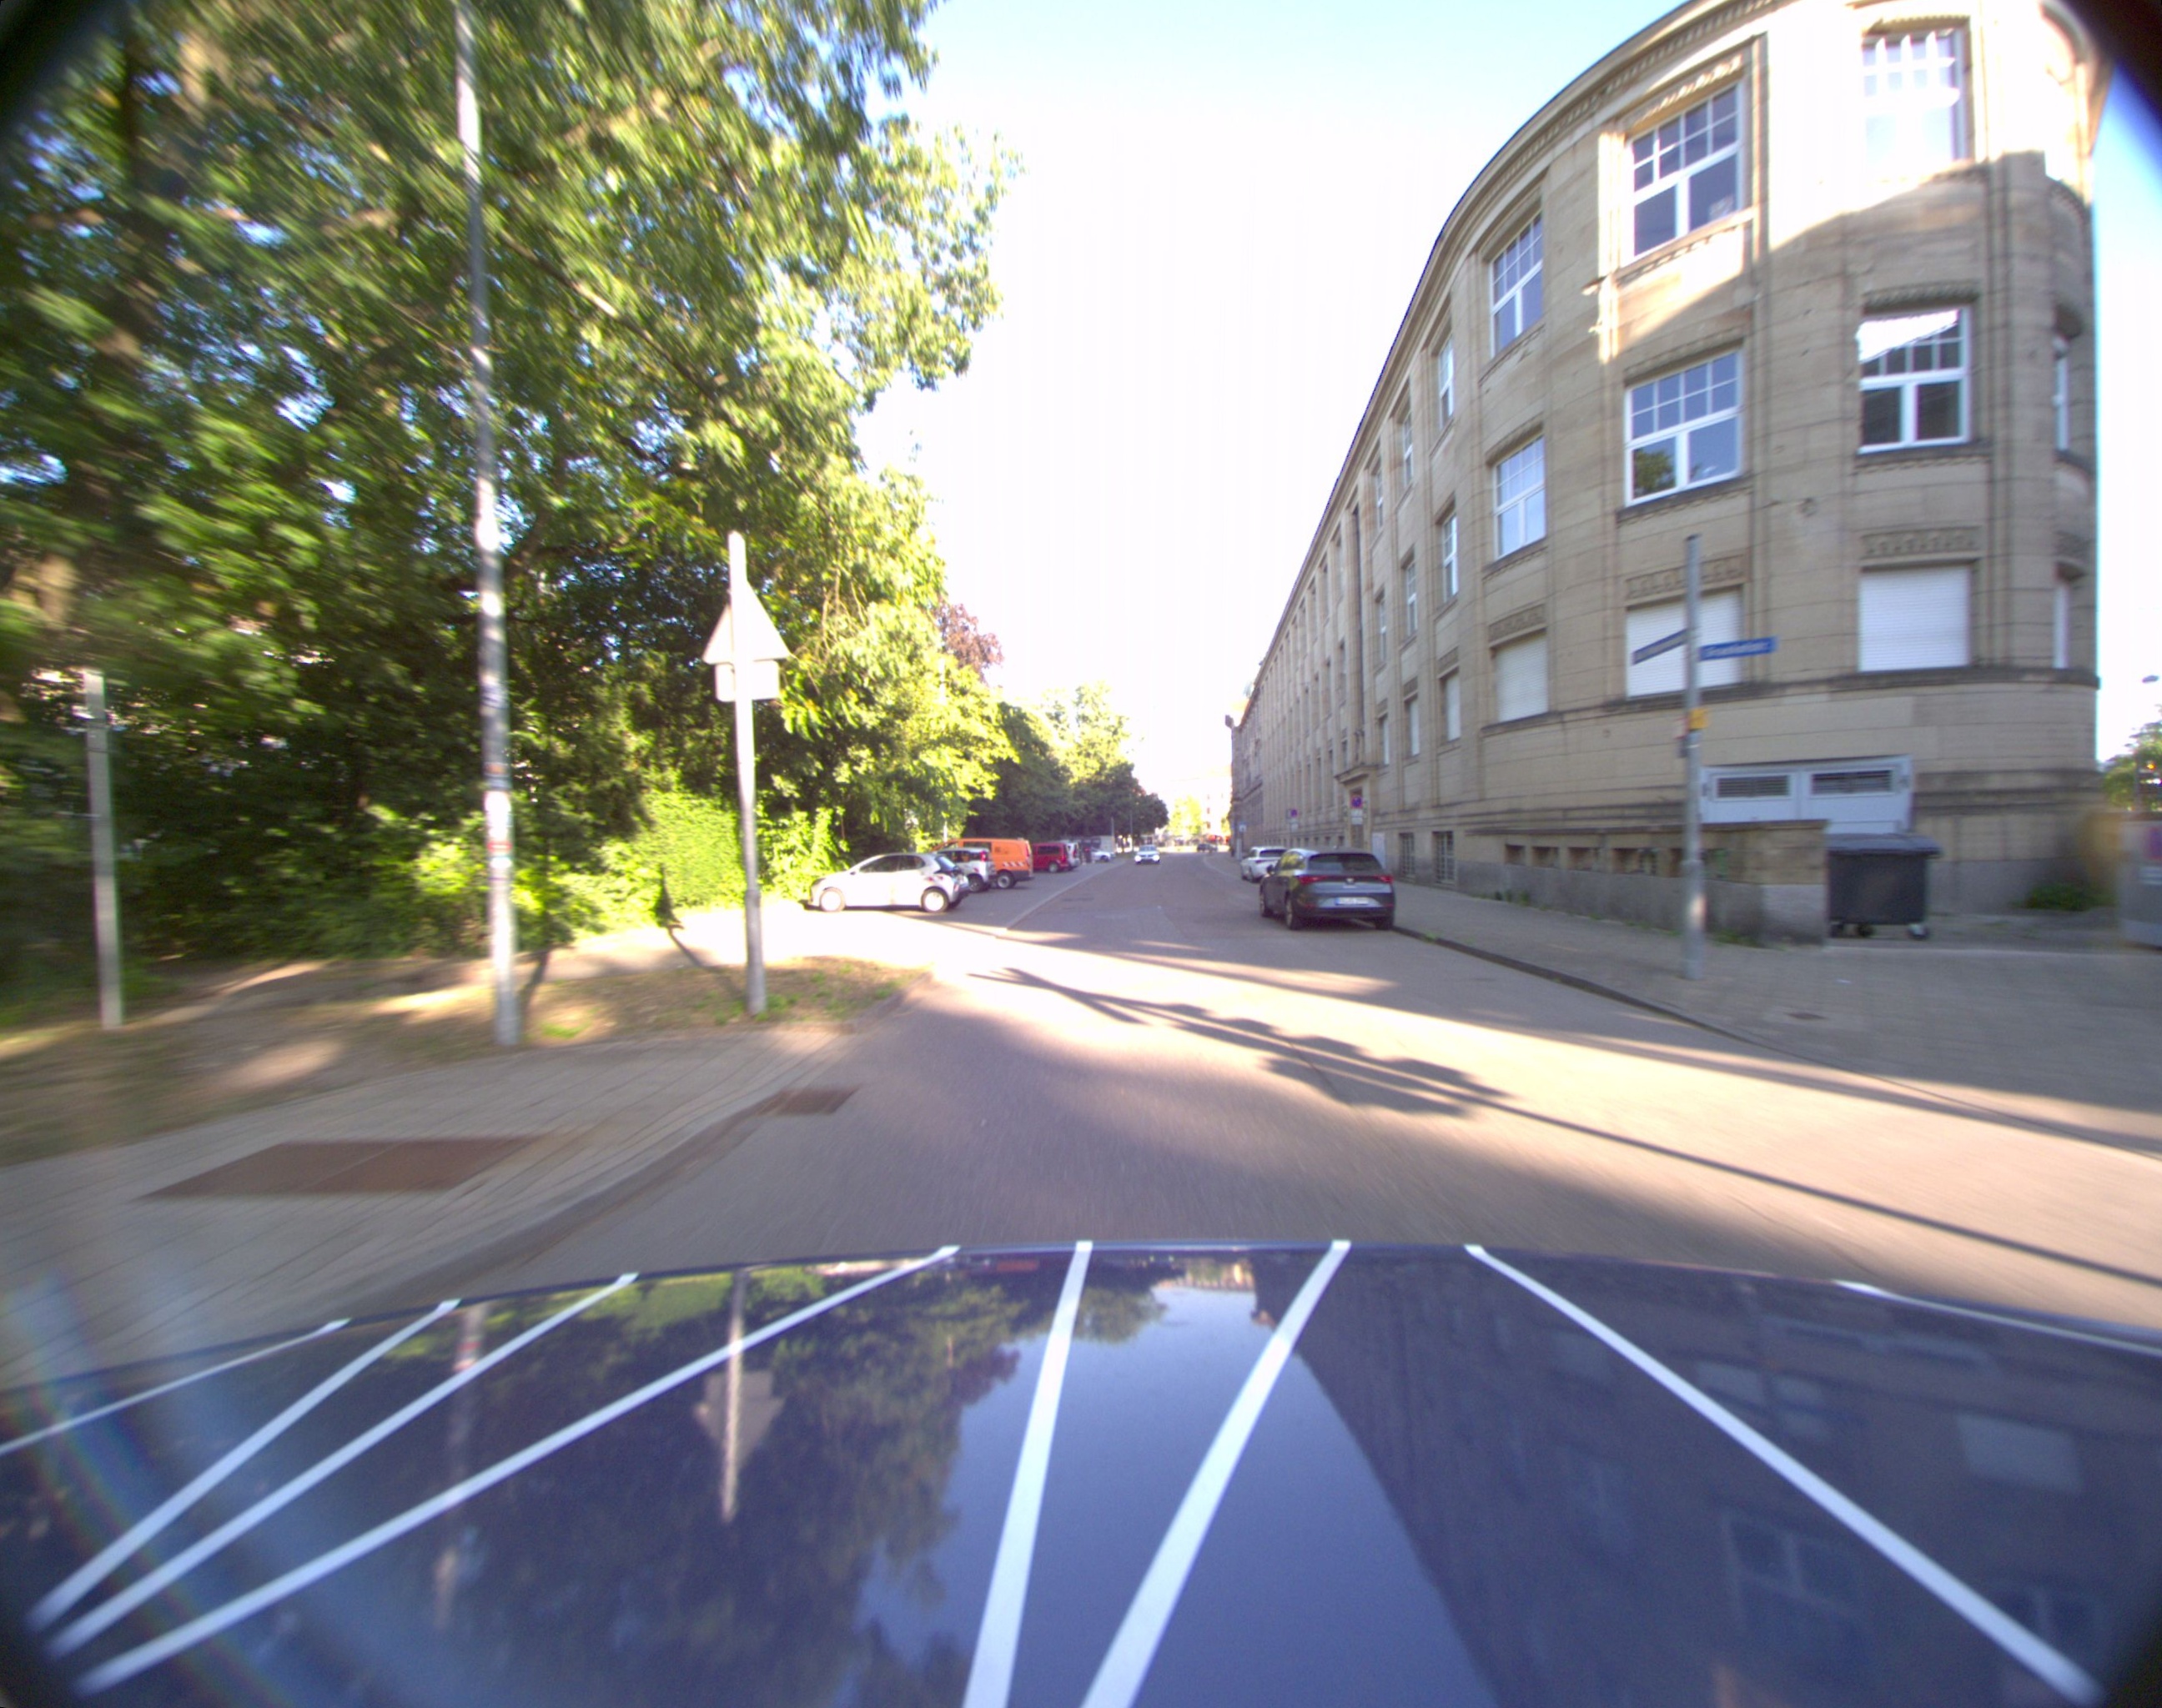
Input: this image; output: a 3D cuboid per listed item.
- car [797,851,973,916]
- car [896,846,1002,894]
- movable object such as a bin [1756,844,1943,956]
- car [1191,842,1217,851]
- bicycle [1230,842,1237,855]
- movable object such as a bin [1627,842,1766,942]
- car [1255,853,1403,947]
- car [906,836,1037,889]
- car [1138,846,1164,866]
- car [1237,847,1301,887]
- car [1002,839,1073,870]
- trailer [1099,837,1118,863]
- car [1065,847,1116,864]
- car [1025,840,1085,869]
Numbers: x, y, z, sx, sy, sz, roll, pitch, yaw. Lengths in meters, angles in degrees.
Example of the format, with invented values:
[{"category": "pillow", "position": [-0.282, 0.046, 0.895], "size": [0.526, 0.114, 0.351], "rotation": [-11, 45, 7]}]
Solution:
[{"category": "car", "position": [-4.896, 0.712, 19.317], "size": [3.996, 1.538, 1.735], "rotation": [0, 1, 4]}, {"category": "car", "position": [-4.690, 0.542, 27.269], "size": [3.403, 1.622, 1.680], "rotation": [0, 1, 6]}, {"category": "movable object such as a bin", "position": [10.803, 0.594, 10.814], "size": [1.184, 1.420, 1.924], "rotation": [-1, 1, 21]}, {"category": "car", "position": [22.318, -1.362, 137.622], "size": [4.350, 1.521, 1.725], "rotation": [-2, 1, -25]}, {"category": "bicycle", "position": [14.946, -0.536, 74.417], "size": [0.457, 1.202, 1.880], "rotation": [-1, 1, 17]}, {"category": "movable object such as a bin", "position": [9.779, 0.567, 12.176], "size": [1.147, 1.477, 1.629], "rotation": [-1, 1, 14]}, {"category": "car", "position": [4.490, 0.743, 14.400], "size": [1.747, 1.440, 4.209], "rotation": [-1, 1, 5]}, {"category": "car", "position": [-4.224, 0.301, 29.971], "size": [4.807, 1.986, 2.081], "rotation": [0, 1, 2]}, {"category": "car", "position": [5.708, 0.129, 61.602], "size": [1.686, 1.445, 4.105], "rotation": [-1, 1, 10]}, {"category": "car", "position": [7.658, 0.481, 31.387], "size": [1.747, 1.426, 4.561], "rotation": [-3, 1, 4]}, {"category": "car", "position": [-2.641, 0.023, 46.668], "size": [3.978, 1.853, 1.921], "rotation": [0, 1, 10]}, {"category": "trailer", "position": [2.976, -0.470, 81.346], "size": [1.600, 2.625, 3.704], "rotation": [-1, 1, 9]}, {"category": "car", "position": [0.899, 0.113, 70.724], "size": [4.439, 1.458, 1.712], "rotation": [-1, 1, 9]}, {"category": "car", "position": [-1.677, 0.015, 49.132], "size": [3.607, 1.873, 1.784], "rotation": [0, 1, 9]}]
